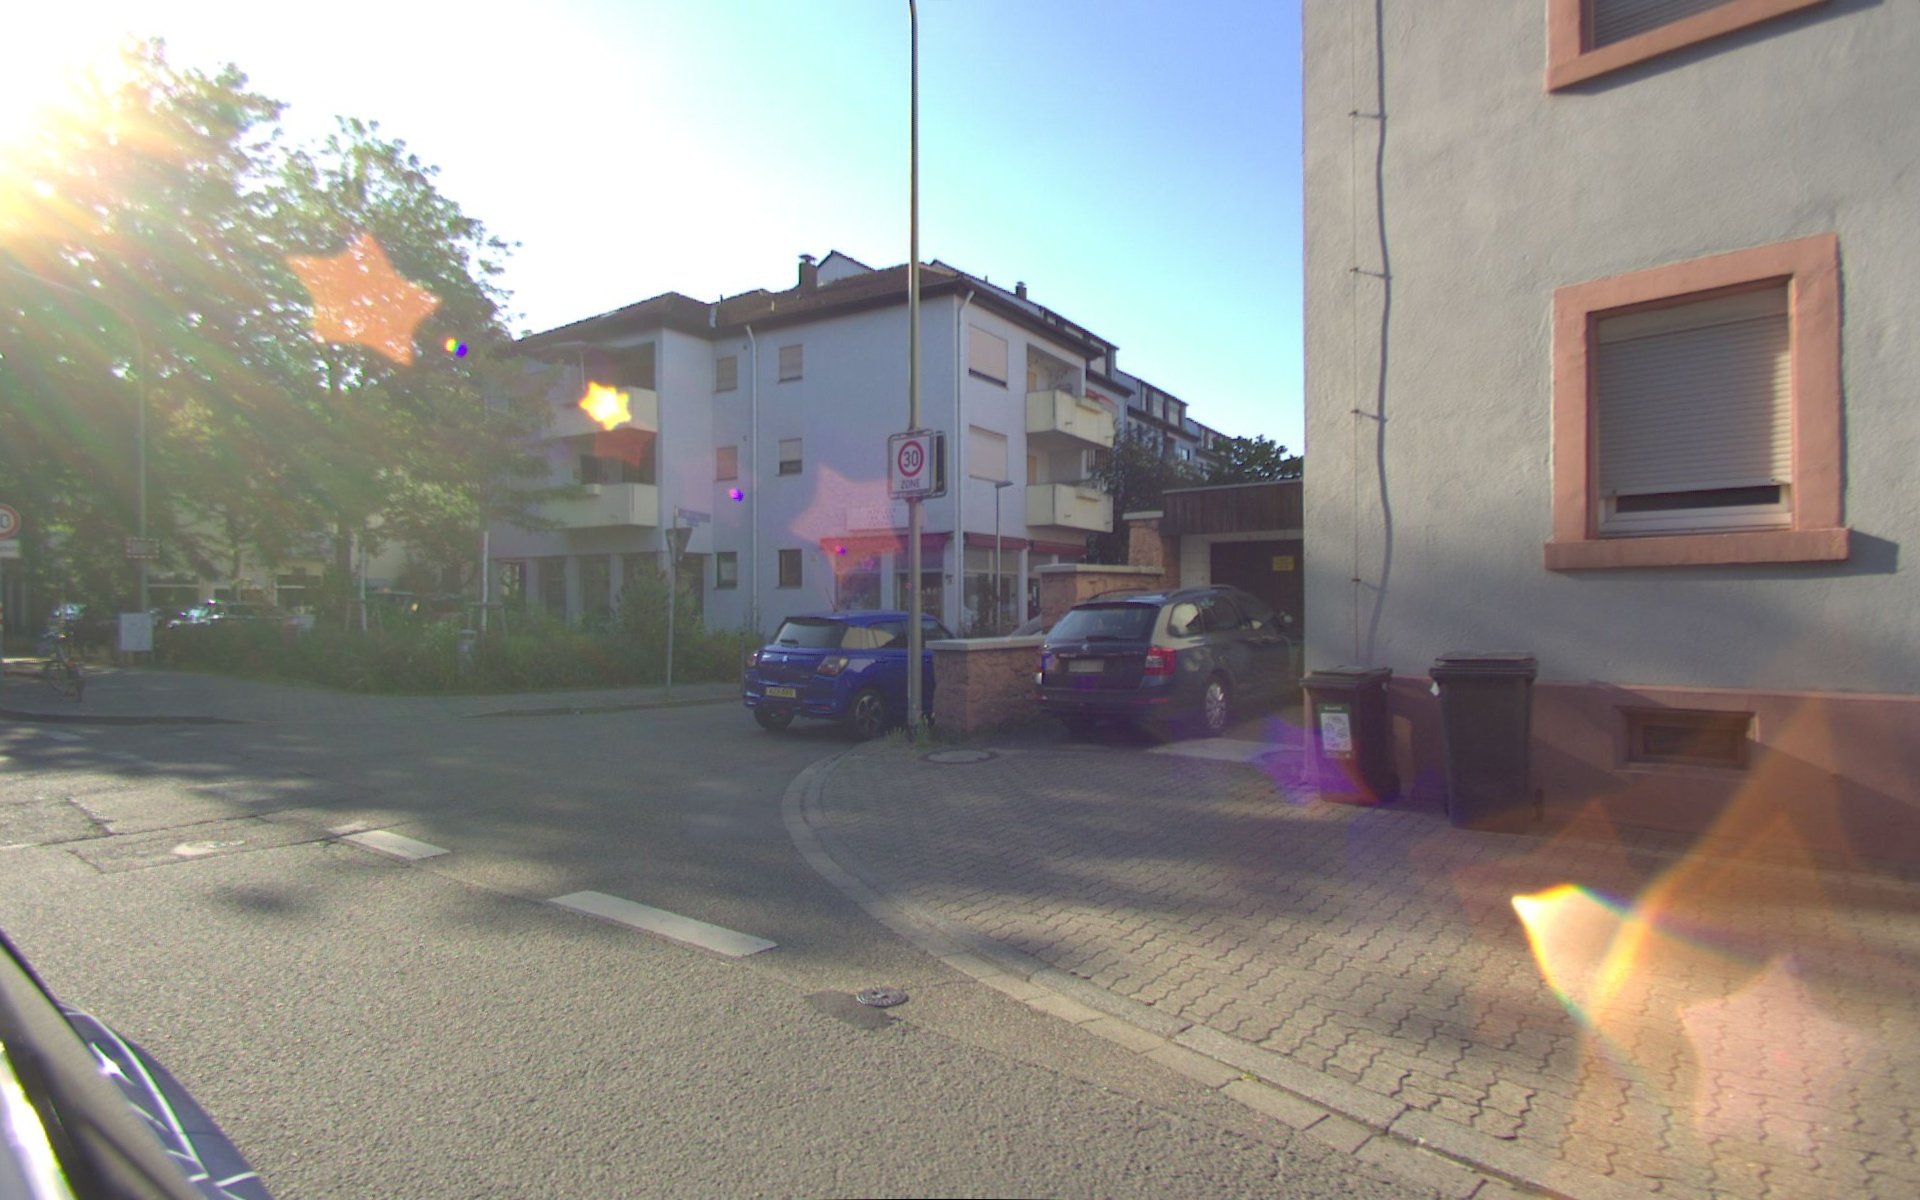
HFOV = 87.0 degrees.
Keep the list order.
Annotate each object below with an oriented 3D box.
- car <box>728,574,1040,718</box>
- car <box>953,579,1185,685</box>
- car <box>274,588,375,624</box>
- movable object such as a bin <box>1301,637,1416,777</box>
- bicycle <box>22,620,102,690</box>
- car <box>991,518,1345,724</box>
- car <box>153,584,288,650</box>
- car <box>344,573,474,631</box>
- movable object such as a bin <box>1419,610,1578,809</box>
[{"bbox_3d":[-0.842,0.539,12.929,1.997,1.541,3.731,-2,-2,38],"label":"car"},{"bbox_3d":[1.888,0.475,16.575,1.997,1.512,3.948,-1,-1,38],"label":"car"},{"bbox_3d":[-28.372,0.265,45.159,4.818,1.486,1.978,0,2,33],"label":"car"},{"bbox_3d":[2.753,0.706,6.977,0.605,0.879,0.593,-1,0,36],"label":"movable object such as a bin"},{"bbox_3d":[-14.234,0.838,16.030,1.940,1.010,0.696,0,1,41],"label":"bicycle"},{"bbox_3d":[2.484,0.104,11.203,1.986,1.808,4.321,-4,1,39],"label":"car"},{"bbox_3d":[-22.943,0.525,31.344,4.892,1.909,1.828,-1,0,34],"label":"car"},{"bbox_3d":[-19.812,0.077,36.383,4.300,1.963,2.007,-1,0,26],"label":"car"},{"bbox_3d":[3.262,0.617,6.128,0.750,1.102,0.593,-1,0,38],"label":"movable object such as a bin"}]
